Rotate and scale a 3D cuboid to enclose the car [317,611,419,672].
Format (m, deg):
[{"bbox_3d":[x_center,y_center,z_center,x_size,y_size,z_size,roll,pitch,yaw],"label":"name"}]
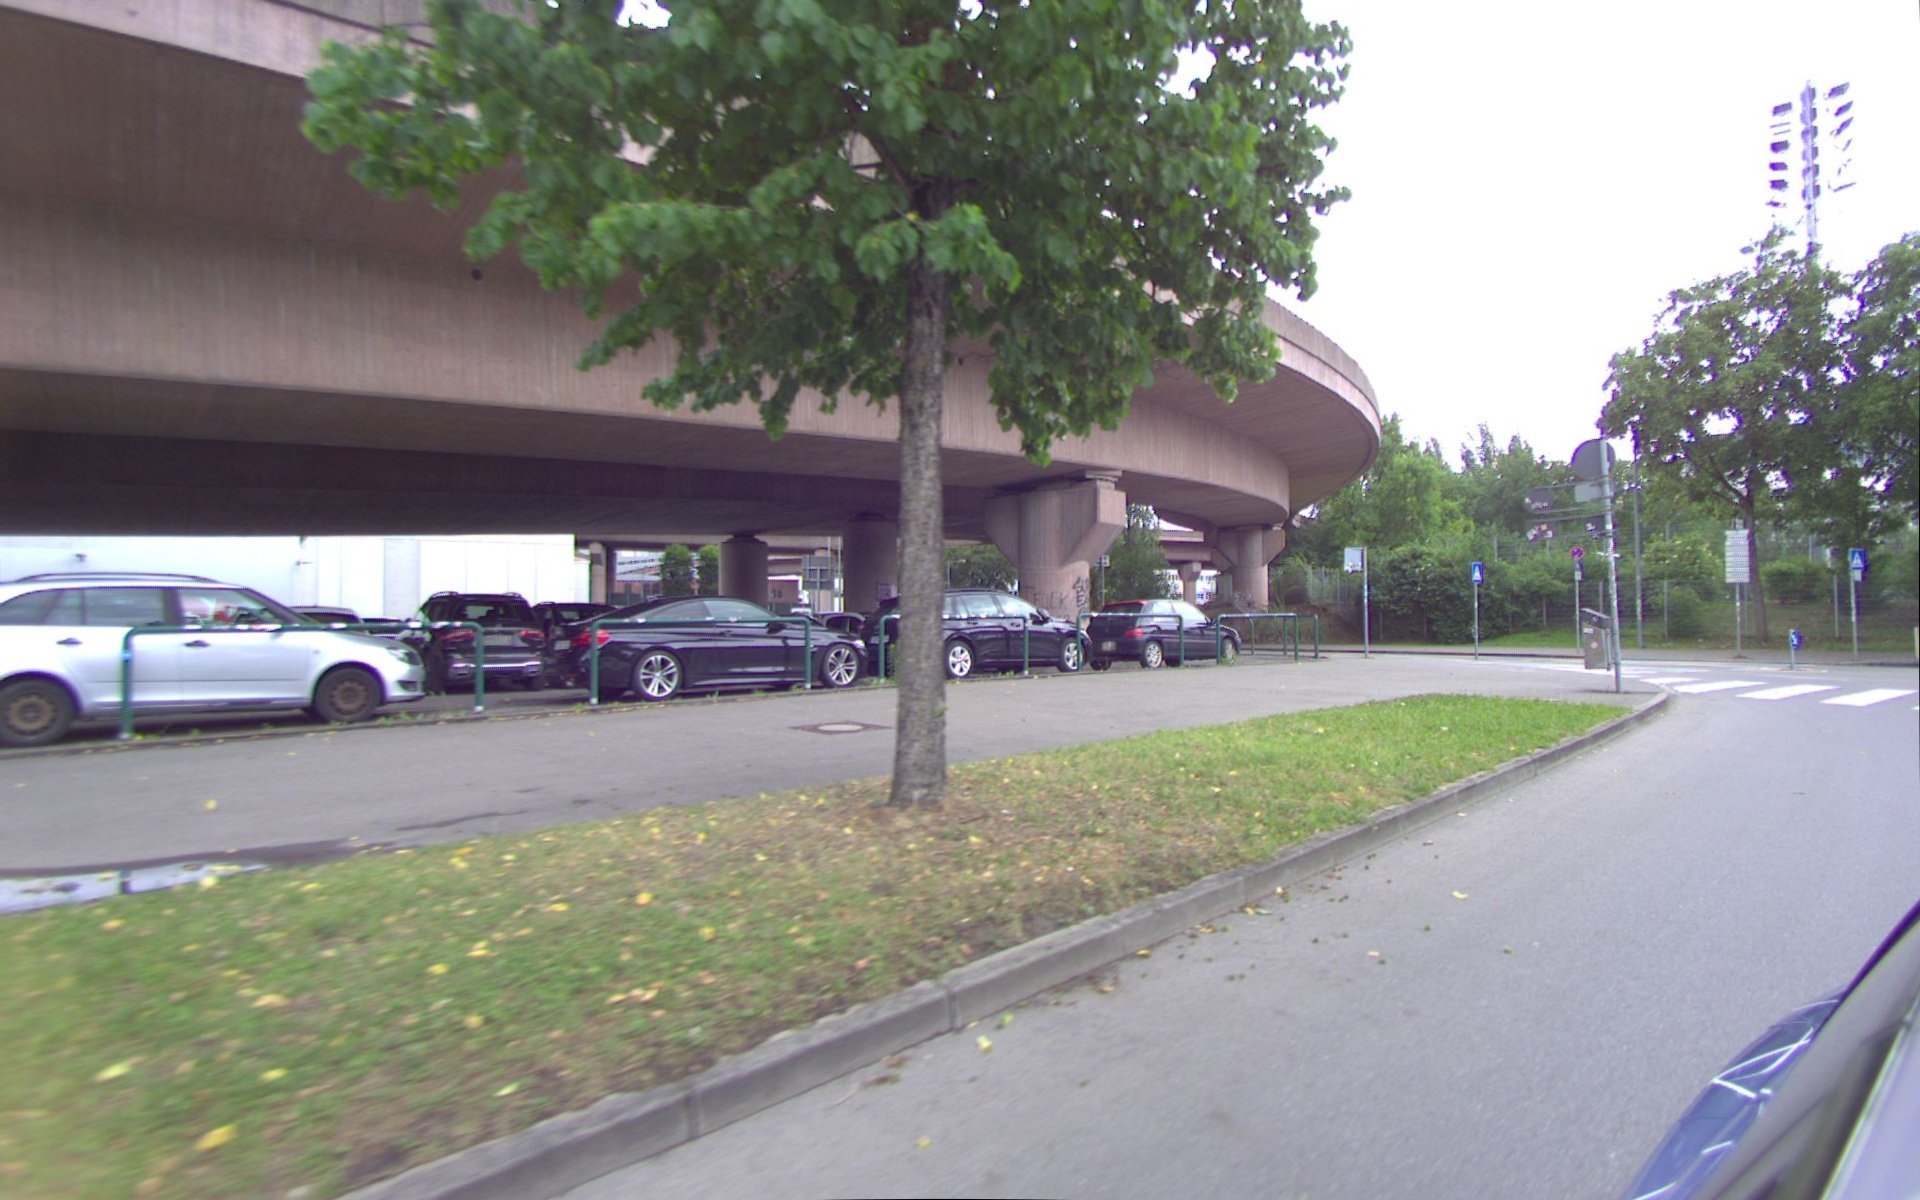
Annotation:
[{"bbox_3d":[-15.279,1.042,26.030,1.804,1.446,3.858,1,-2,-37],"label":"car"}]

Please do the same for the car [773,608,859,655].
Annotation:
[{"bbox_3d":[-5.051,1.080,35.277,1.502,1.519,3.372,-2,0,-37],"label":"car"}]

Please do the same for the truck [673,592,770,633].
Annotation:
[{"bbox_3d":[-26.983,1.488,114.696,9.942,4.423,3.912,1,-3,-35],"label":"truck"}]

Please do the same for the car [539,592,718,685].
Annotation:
[{"bbox_3d":[-6.312,0.701,19.057,1.729,1.576,3.851,1,-2,-44],"label":"car"}]

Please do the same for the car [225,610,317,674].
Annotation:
[{"bbox_3d":[-16.884,0.998,24.740,1.648,1.446,3.858,1,-2,-37],"label":"car"}]

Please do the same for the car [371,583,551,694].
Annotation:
[{"bbox_3d":[-8.727,0.643,17.569,1.729,1.716,3.851,1,-2,-44],"label":"car"}]

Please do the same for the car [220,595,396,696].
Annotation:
[{"bbox_3d":[-10.765,0.712,16.618,1.729,1.453,3.851,1,-2,-44],"label":"car"}]

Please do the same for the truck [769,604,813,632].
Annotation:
[{"bbox_3d":[-17.163,1.836,103.037,2.384,2.779,7.217,-1,-2,8],"label":"truck"}]

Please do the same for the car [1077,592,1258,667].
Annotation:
[{"bbox_3d":[4.217,0.582,20.368,3.631,1.347,1.508,0,-5,-38],"label":"car"}]

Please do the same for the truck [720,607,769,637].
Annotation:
[{"bbox_3d":[-21.454,2.198,100.886,2.422,2.923,6.092,-1,-2,13],"label":"truck"}]

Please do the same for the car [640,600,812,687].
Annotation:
[{"bbox_3d":[-4.778,0.845,20.358,1.670,1.576,3.851,1,-2,-44],"label":"car"}]

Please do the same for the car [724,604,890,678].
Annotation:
[{"bbox_3d":[-3.375,0.866,21.906,1.670,1.462,3.851,1,-2,-44],"label":"car"}]

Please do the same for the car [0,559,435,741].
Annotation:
[{"bbox_3d":[-7.713,0.457,10.252,4.000,1.555,1.613,0,-2,-42],"label":"car"}]

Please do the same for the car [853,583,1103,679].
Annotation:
[{"bbox_3d":[0.384,0.493,17.016,4.171,1.439,1.508,0,-3,-38],"label":"car"}]

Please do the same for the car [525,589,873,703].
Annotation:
[{"bbox_3d":[-3.475,0.565,13.907,4.296,1.338,1.769,0,-2,-39],"label":"car"}]

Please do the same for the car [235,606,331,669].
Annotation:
[{"bbox_3d":[-20.177,1.087,30.081,2.052,1.699,5.102,1,-2,-37],"label":"car"}]

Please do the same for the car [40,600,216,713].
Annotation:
[{"bbox_3d":[-12.434,0.781,15.040,1.729,1.457,3.851,1,-2,-44],"label":"car"}]

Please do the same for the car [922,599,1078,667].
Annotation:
[{"bbox_3d":[0.918,0.797,25.317,1.610,1.572,4.004,1,-2,-40],"label":"car"}]

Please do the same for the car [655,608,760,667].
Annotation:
[{"bbox_3d":[-7.959,1.147,31.714,1.804,1.720,3.858,1,-2,-37],"label":"car"}]

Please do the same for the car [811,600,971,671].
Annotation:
[{"bbox_3d":[-1.672,0.811,23.619,1.670,1.529,3.851,1,-2,-44],"label":"car"}]
